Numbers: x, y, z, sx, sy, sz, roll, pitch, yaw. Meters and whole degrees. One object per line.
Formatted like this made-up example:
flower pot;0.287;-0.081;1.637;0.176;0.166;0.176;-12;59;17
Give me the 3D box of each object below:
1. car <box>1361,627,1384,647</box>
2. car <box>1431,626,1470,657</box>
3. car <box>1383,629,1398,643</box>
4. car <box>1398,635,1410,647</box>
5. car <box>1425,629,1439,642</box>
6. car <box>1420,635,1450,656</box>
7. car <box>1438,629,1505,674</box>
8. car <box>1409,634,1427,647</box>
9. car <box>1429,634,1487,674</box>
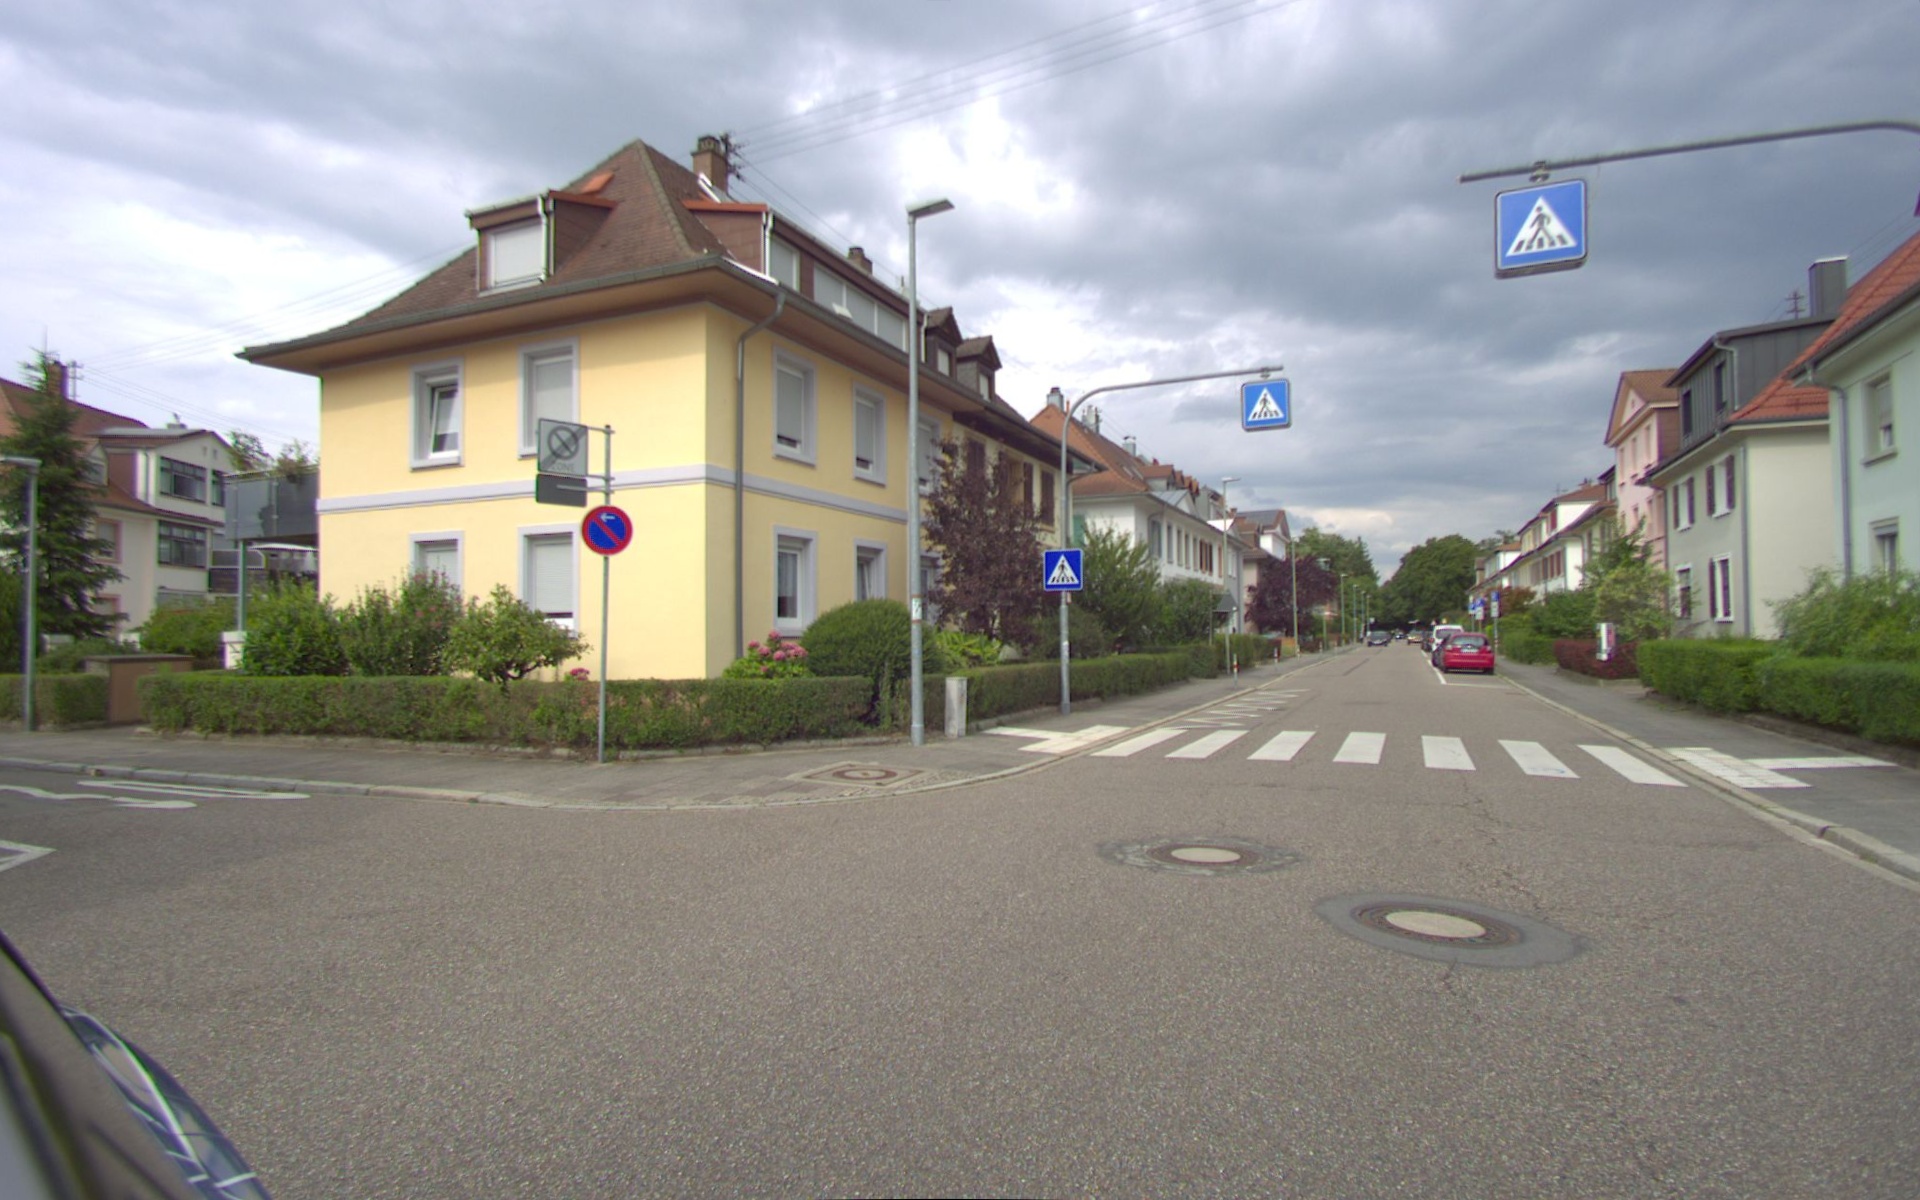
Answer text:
car;41.459;3.715;101.745;1.988;2.029;3.967;-1;-2;24
car;30.580;2.583;63.196;1.988;1.918;3.967;-1;-2;24
car;60.464;5.095;141.983;1.801;1.894;3.916;-2;-2;24
car;75.129;6.943;171.329;1.618;2.029;3.879;-1;-2;22
car;74.395;5.642;159.583;1.988;2.029;3.967;0;-2;24
car;36.491;3.471;77.782;1.988;1.586;3.967;-1;-2;24
car;19.007;1.906;37.761;1.988;1.586;3.967;-1;-2;24
car;52.329;4.608;115.694;1.825;1.497;3.969;0;-2;23
car;20.899;2.229;42.591;1.988;1.586;3.967;-1;-2;24
